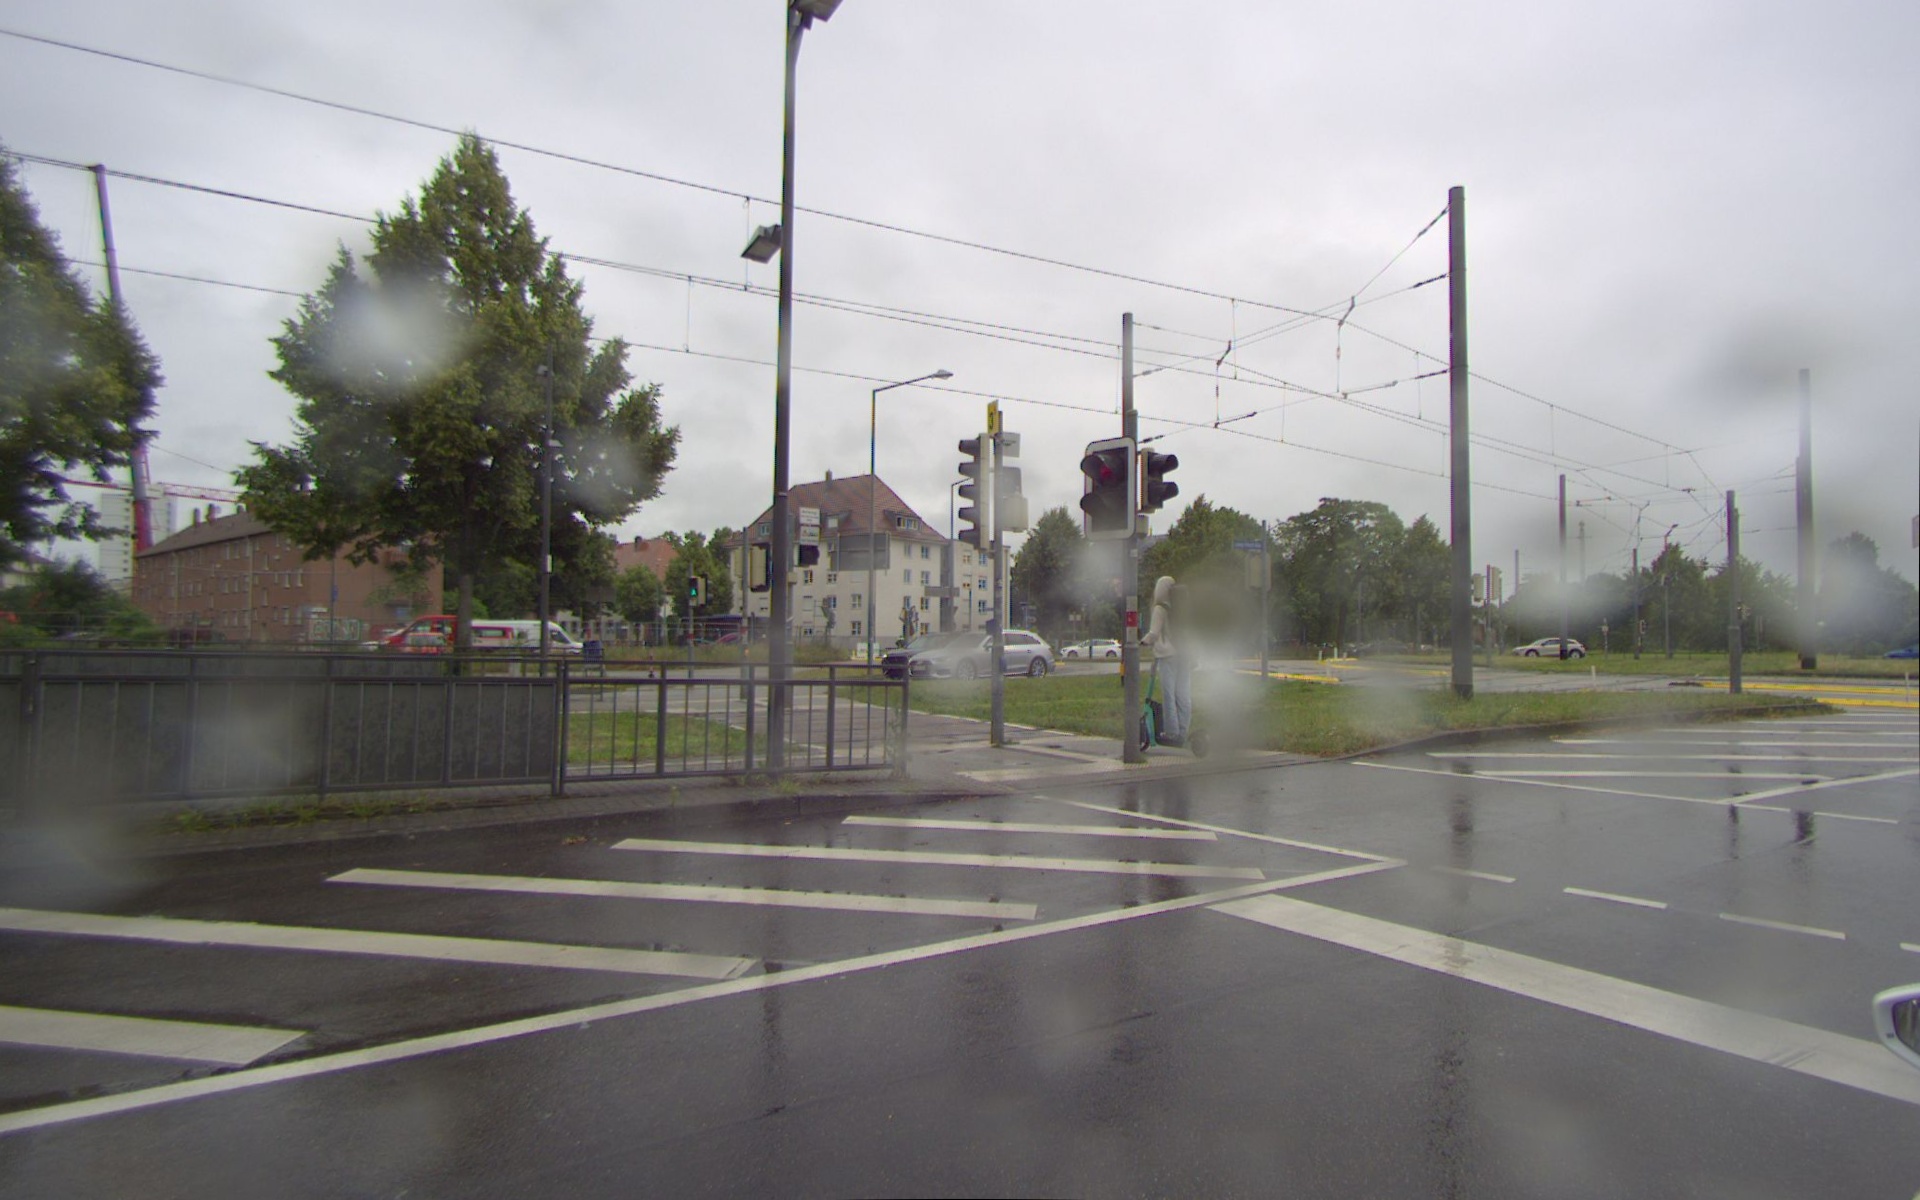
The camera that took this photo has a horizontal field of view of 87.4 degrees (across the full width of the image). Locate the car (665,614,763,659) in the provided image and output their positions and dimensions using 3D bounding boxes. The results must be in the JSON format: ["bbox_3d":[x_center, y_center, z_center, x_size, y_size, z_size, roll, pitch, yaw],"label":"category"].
[{"bbox_3d":[-22.409,3.212,91.000,10.793,3.770,2.447,0,-2,39],"label":"car"}]

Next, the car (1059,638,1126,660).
[{"bbox_3d":[9.236,3.402,70.416,4.530,1.473,1.624,0,-2,3],"label":"car"}]

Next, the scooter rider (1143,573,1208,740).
[{"bbox_3d":[2.311,0.598,10.768,0.431,1.731,0.526,2,-3,-42],"label":"scooter rider"}]

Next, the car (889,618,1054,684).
[{"bbox_3d":[0.374,1.364,27.458,4.371,1.649,1.975,2,-2,-42],"label":"car"}]

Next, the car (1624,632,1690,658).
[{"bbox_3d":[54.059,3.502,77.974,3.921,1.840,1.681,2,0,-1],"label":"car"}]

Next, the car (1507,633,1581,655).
[{"bbox_3d":[39.629,2.965,68.215,4.029,1.473,1.625,0,-2,12],"label":"car"}]

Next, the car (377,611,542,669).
[{"bbox_3d":[-22.234,1.791,44.902,6.389,2.502,1.616,1,-2,-20],"label":"car"}]

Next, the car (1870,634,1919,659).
[{"bbox_3d":[57.892,2.805,60.757,1.604,1.473,3.956,1,-2,-30],"label":"car"}]

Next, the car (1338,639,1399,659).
[{"bbox_3d":[30.330,3.652,74.583,3.915,1.473,1.621,1,-2,-10],"label":"car"}]

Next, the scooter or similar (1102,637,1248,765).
[{"bbox_3d":[2.277,1.046,10.790,0.444,1.275,1.571,2,-3,-42],"label":"scooter or similar"}]

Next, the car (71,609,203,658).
[{"bbox_3d":[-45.436,1.876,55.658,5.441,2.485,1.980,3,0,-36],"label":"car"}]

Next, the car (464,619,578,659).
[{"bbox_3d":[-25.971,2.320,59.611,6.004,2.308,1.617,1,-2,-18],"label":"car"}]

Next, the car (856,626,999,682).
[{"bbox_3d":[-0.987,1.674,32.032,4.371,1.649,1.975,2,-2,-42],"label":"car"}]
